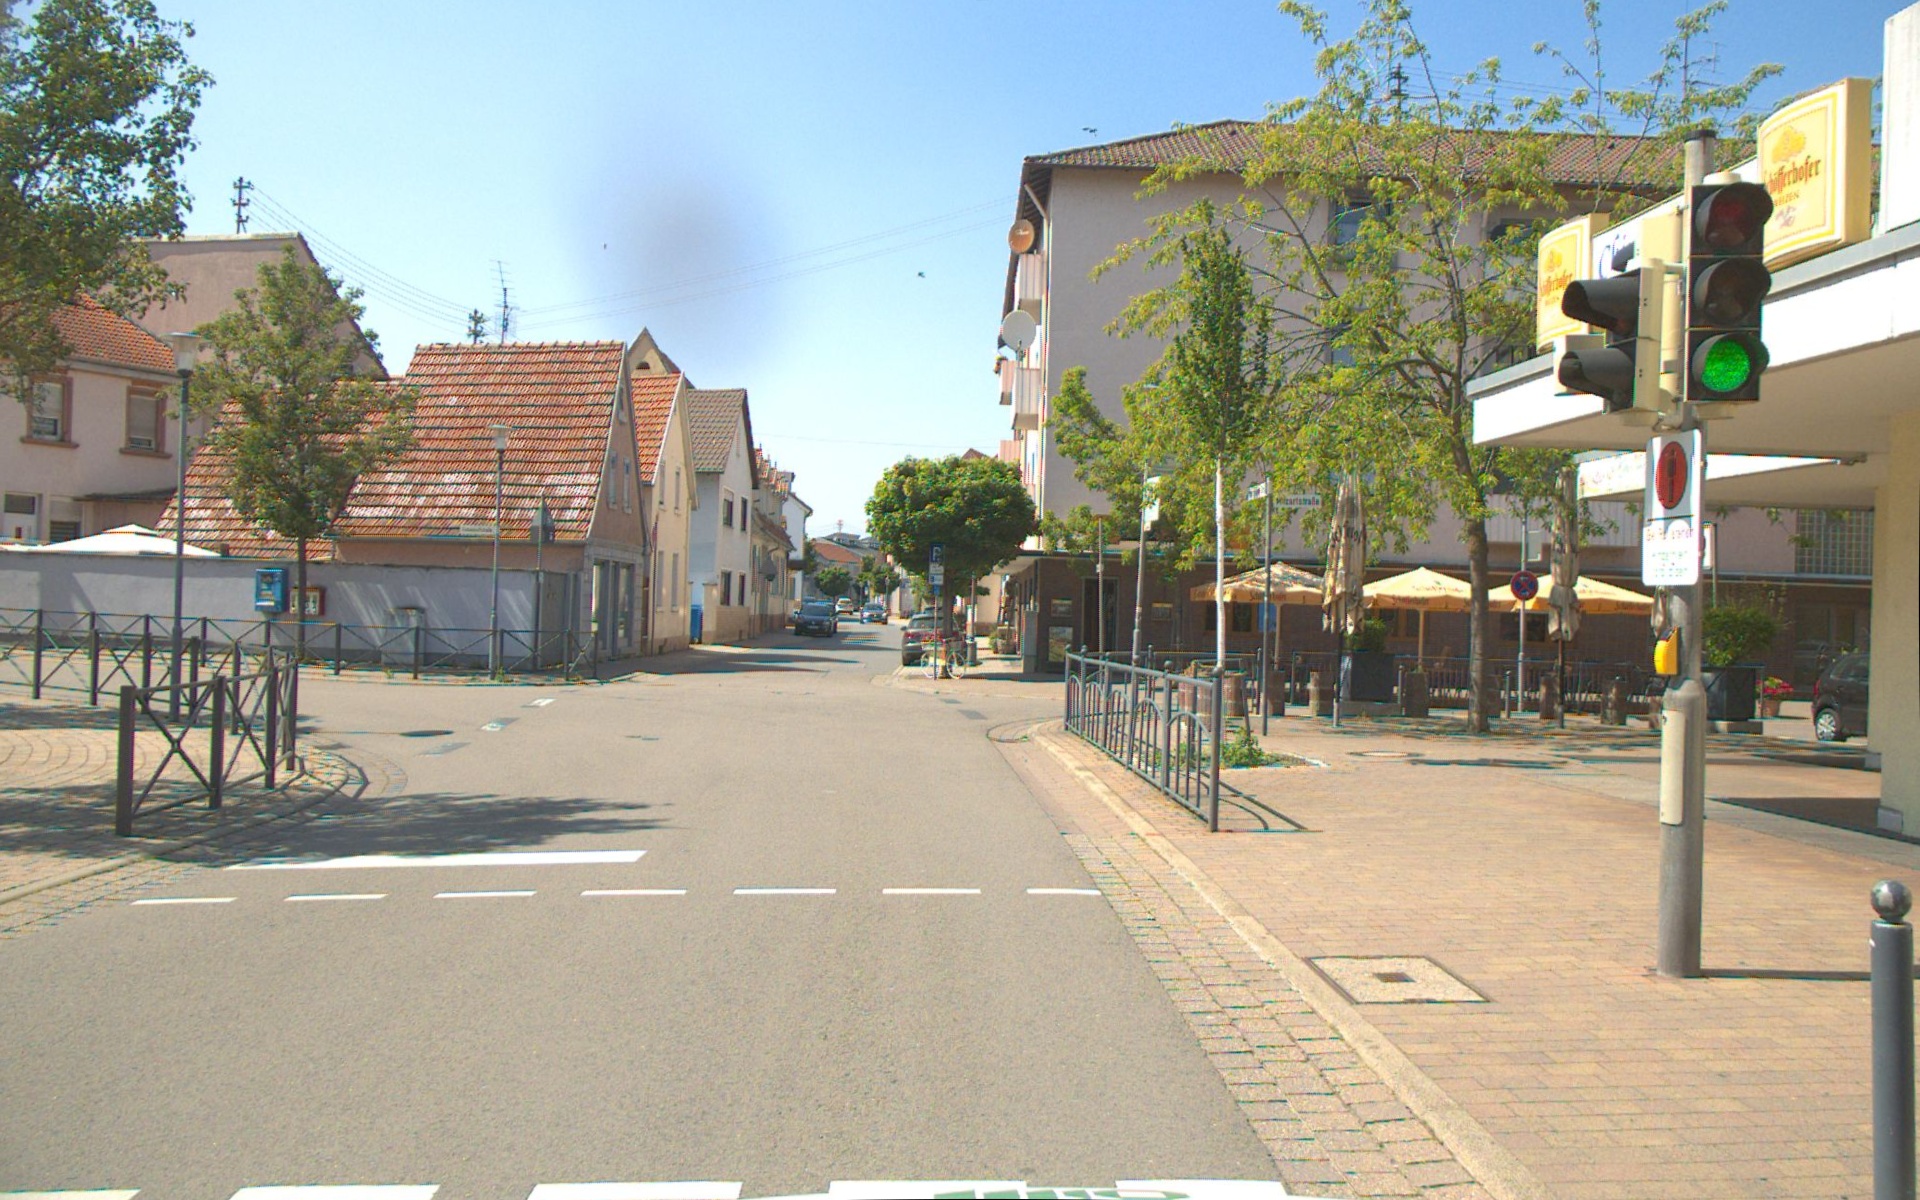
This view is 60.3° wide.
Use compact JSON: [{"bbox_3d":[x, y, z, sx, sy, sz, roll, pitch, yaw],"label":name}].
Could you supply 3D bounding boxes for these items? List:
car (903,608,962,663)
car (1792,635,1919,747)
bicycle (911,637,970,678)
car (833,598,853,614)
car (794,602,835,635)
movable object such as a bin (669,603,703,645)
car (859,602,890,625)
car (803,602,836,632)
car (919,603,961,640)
[{"bbox_3d":[-0.751,0.999,47.156,1.543,1.479,3.486,1,-1,1],"label":"car"},{"bbox_3d":[14.054,1.314,23.886,1.733,1.536,3.965,2,-1,-7],"label":"car"},{"bbox_3d":[-0.460,1.324,38.533,1.386,0.913,0.463,0,0,36],"label":"bicycle"},{"bbox_3d":[-11.981,0.594,169.787,1.987,1.626,4.506,1,0,-3],"label":"car"},{"bbox_3d":[-6.851,0.856,78.065,1.629,1.502,4.133,1,0,-1],"label":"car"},{"bbox_3d":[-9.372,0.818,56.607,1.078,1.389,0.390,1,-1,3],"label":"movable object such as a bin"},{"bbox_3d":[-6.057,0.980,116.743,1.873,1.507,4.836,1,-1,-7],"label":"car"},{"bbox_3d":[-7.173,0.847,84.614,1.630,1.502,3.447,1,0,-5],"label":"car"},{"bbox_3d":[-0.986,1.012,81.019,2.001,1.718,4.840,1,0,-1],"label":"car"}]
